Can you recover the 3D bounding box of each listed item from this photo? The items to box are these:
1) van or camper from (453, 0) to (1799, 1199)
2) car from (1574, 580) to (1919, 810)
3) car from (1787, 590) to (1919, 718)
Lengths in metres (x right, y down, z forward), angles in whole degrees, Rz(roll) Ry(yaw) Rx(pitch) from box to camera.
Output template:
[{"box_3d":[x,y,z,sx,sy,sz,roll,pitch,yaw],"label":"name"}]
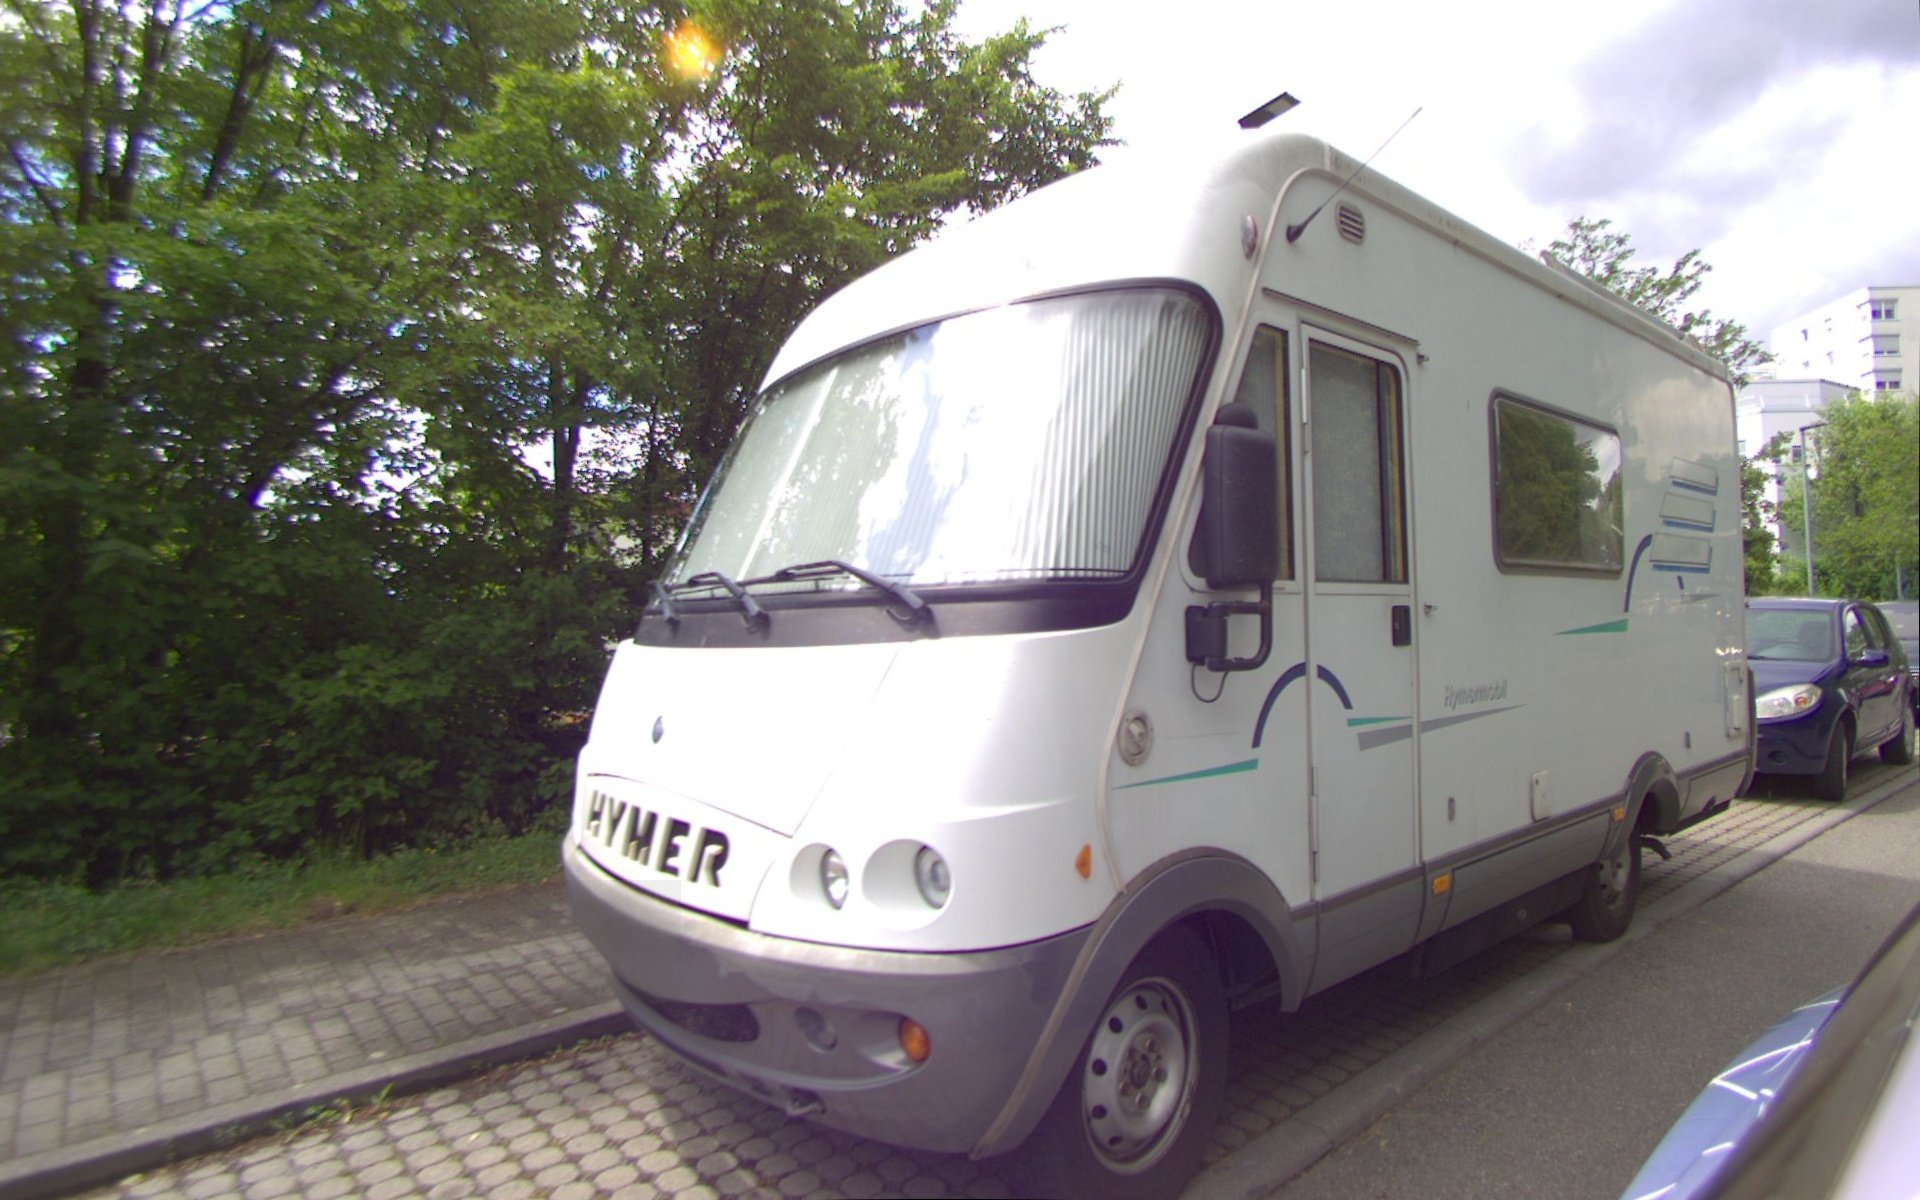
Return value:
[{"box_3d":[1.351,-0.033,4.426,6.039,2.906,2.337,0,-2,-39],"label":"van or camper"},{"box_3d":[7.100,0.639,8.880,3.820,1.538,1.732,-2,0,-39],"label":"car"},{"box_3d":[12.451,0.600,12.941,4.251,1.453,1.781,0,-1,-35],"label":"car"}]
